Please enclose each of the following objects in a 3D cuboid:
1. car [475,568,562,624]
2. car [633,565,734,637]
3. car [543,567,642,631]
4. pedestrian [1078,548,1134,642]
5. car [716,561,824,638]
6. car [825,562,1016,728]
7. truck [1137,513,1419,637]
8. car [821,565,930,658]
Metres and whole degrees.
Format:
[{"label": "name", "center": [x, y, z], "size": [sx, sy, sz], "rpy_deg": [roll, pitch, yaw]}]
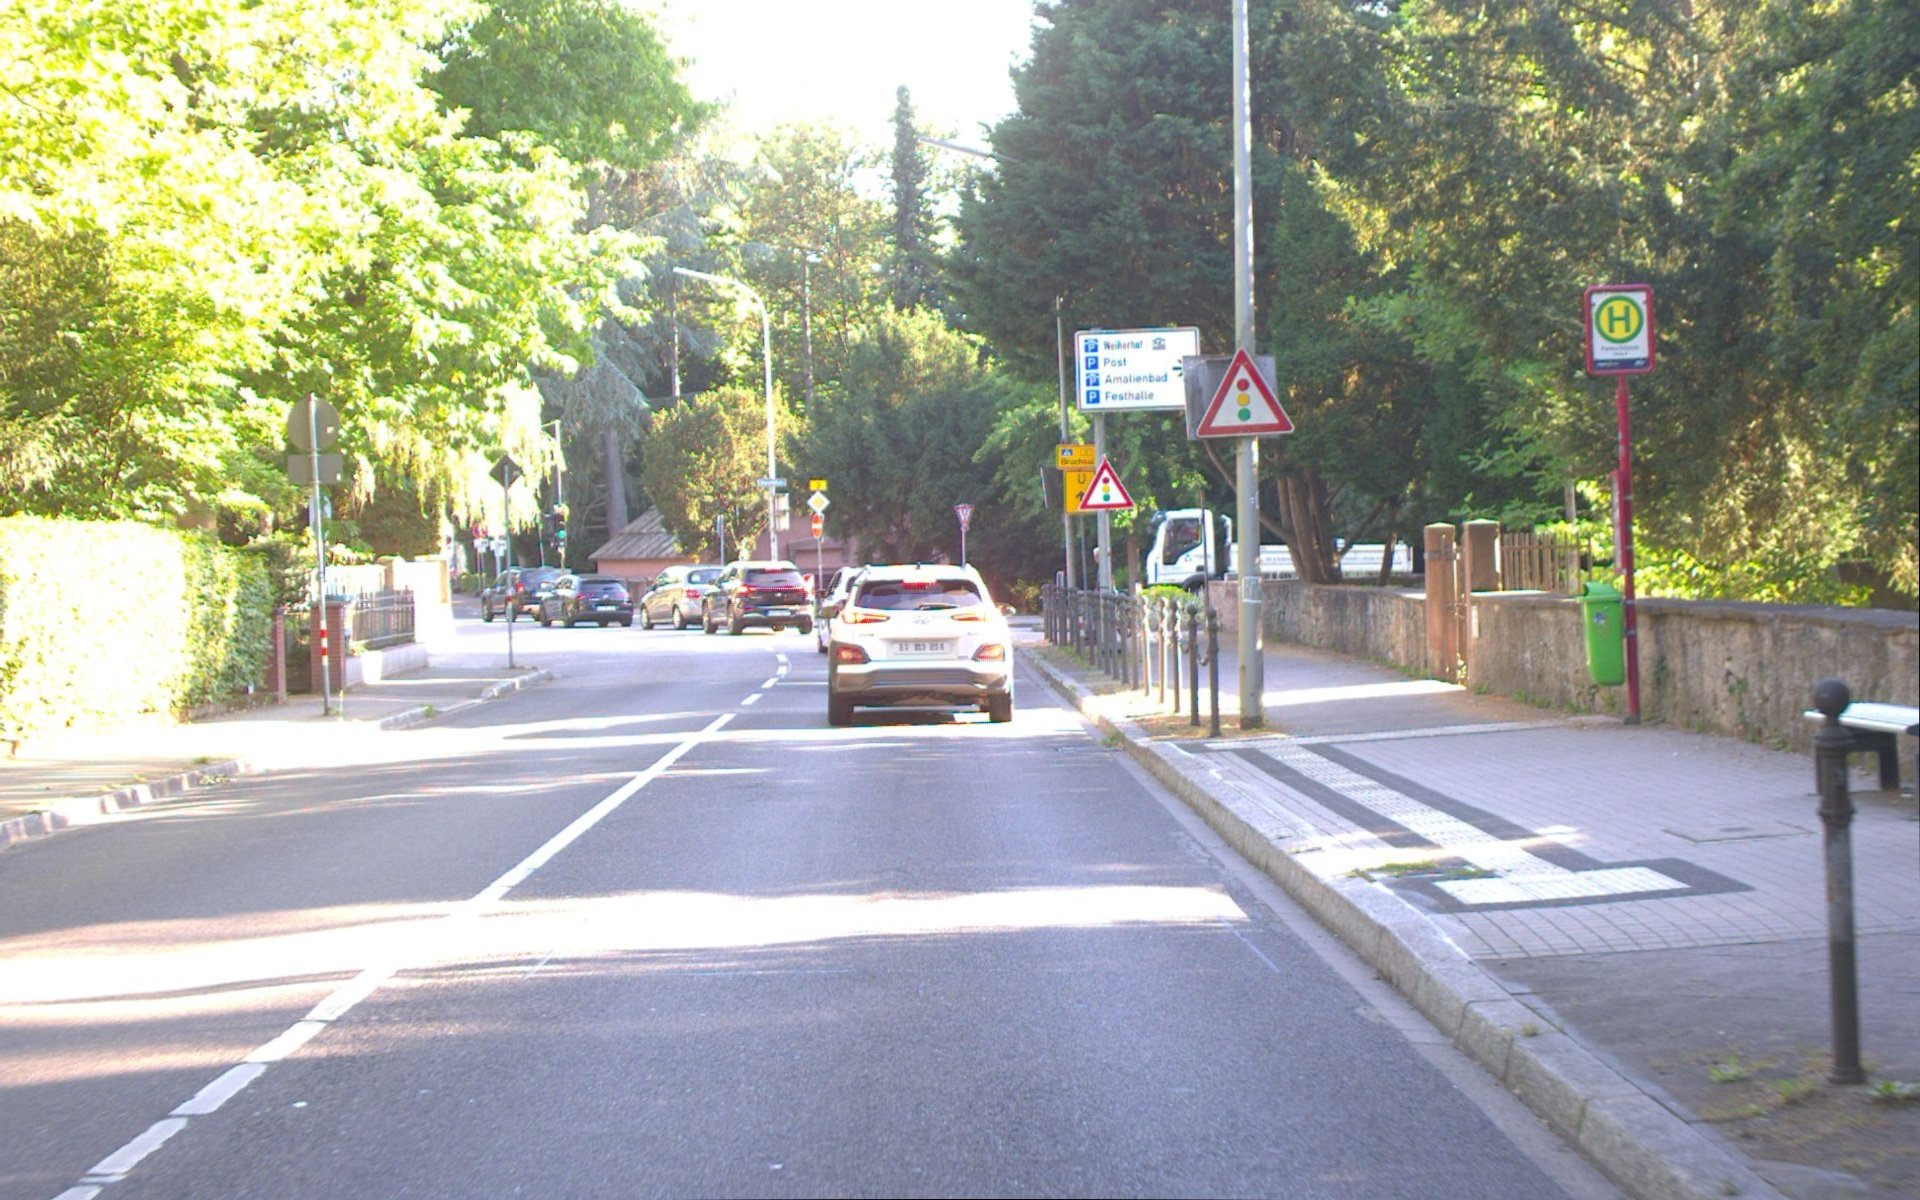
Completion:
[{"label": "car", "center": [-13.375, -0.132, 103.930], "size": [1.831, 1.656, 4.001], "rpy_deg": [0, 0, -19]}, {"label": "car", "center": [-6.804, 0.007, 84.257], "size": [1.831, 1.735, 4.001], "rpy_deg": [0, 0, -14]}, {"label": "car", "center": [-9.954, -0.049, 92.829], "size": [1.831, 1.656, 4.001], "rpy_deg": [1, 0, -18]}, {"label": "pedestrian", "center": [2.867, -0.099, 67.436], "size": [0.940, 1.820, 0.554], "rpy_deg": [0, 2, -39]}, {"label": "car", "center": [-4.249, -0.021, 76.544], "size": [1.831, 1.656, 4.001], "rpy_deg": [0, 0, -12]}, {"label": "car", "center": [-0.425, 0.417, 34.977], "size": [1.820, 1.568, 4.000], "rpy_deg": [1, 0, -1]}, {"label": "truck", "center": [7.562, -0.605, 81.996], "size": [6.588, 2.885, 2.433], "rpy_deg": [0, 0, 4]}, {"label": "car", "center": [-1.451, 0.171, 58.758], "size": [1.805, 1.532, 4.000], "rpy_deg": [0, 0, -2]}]
